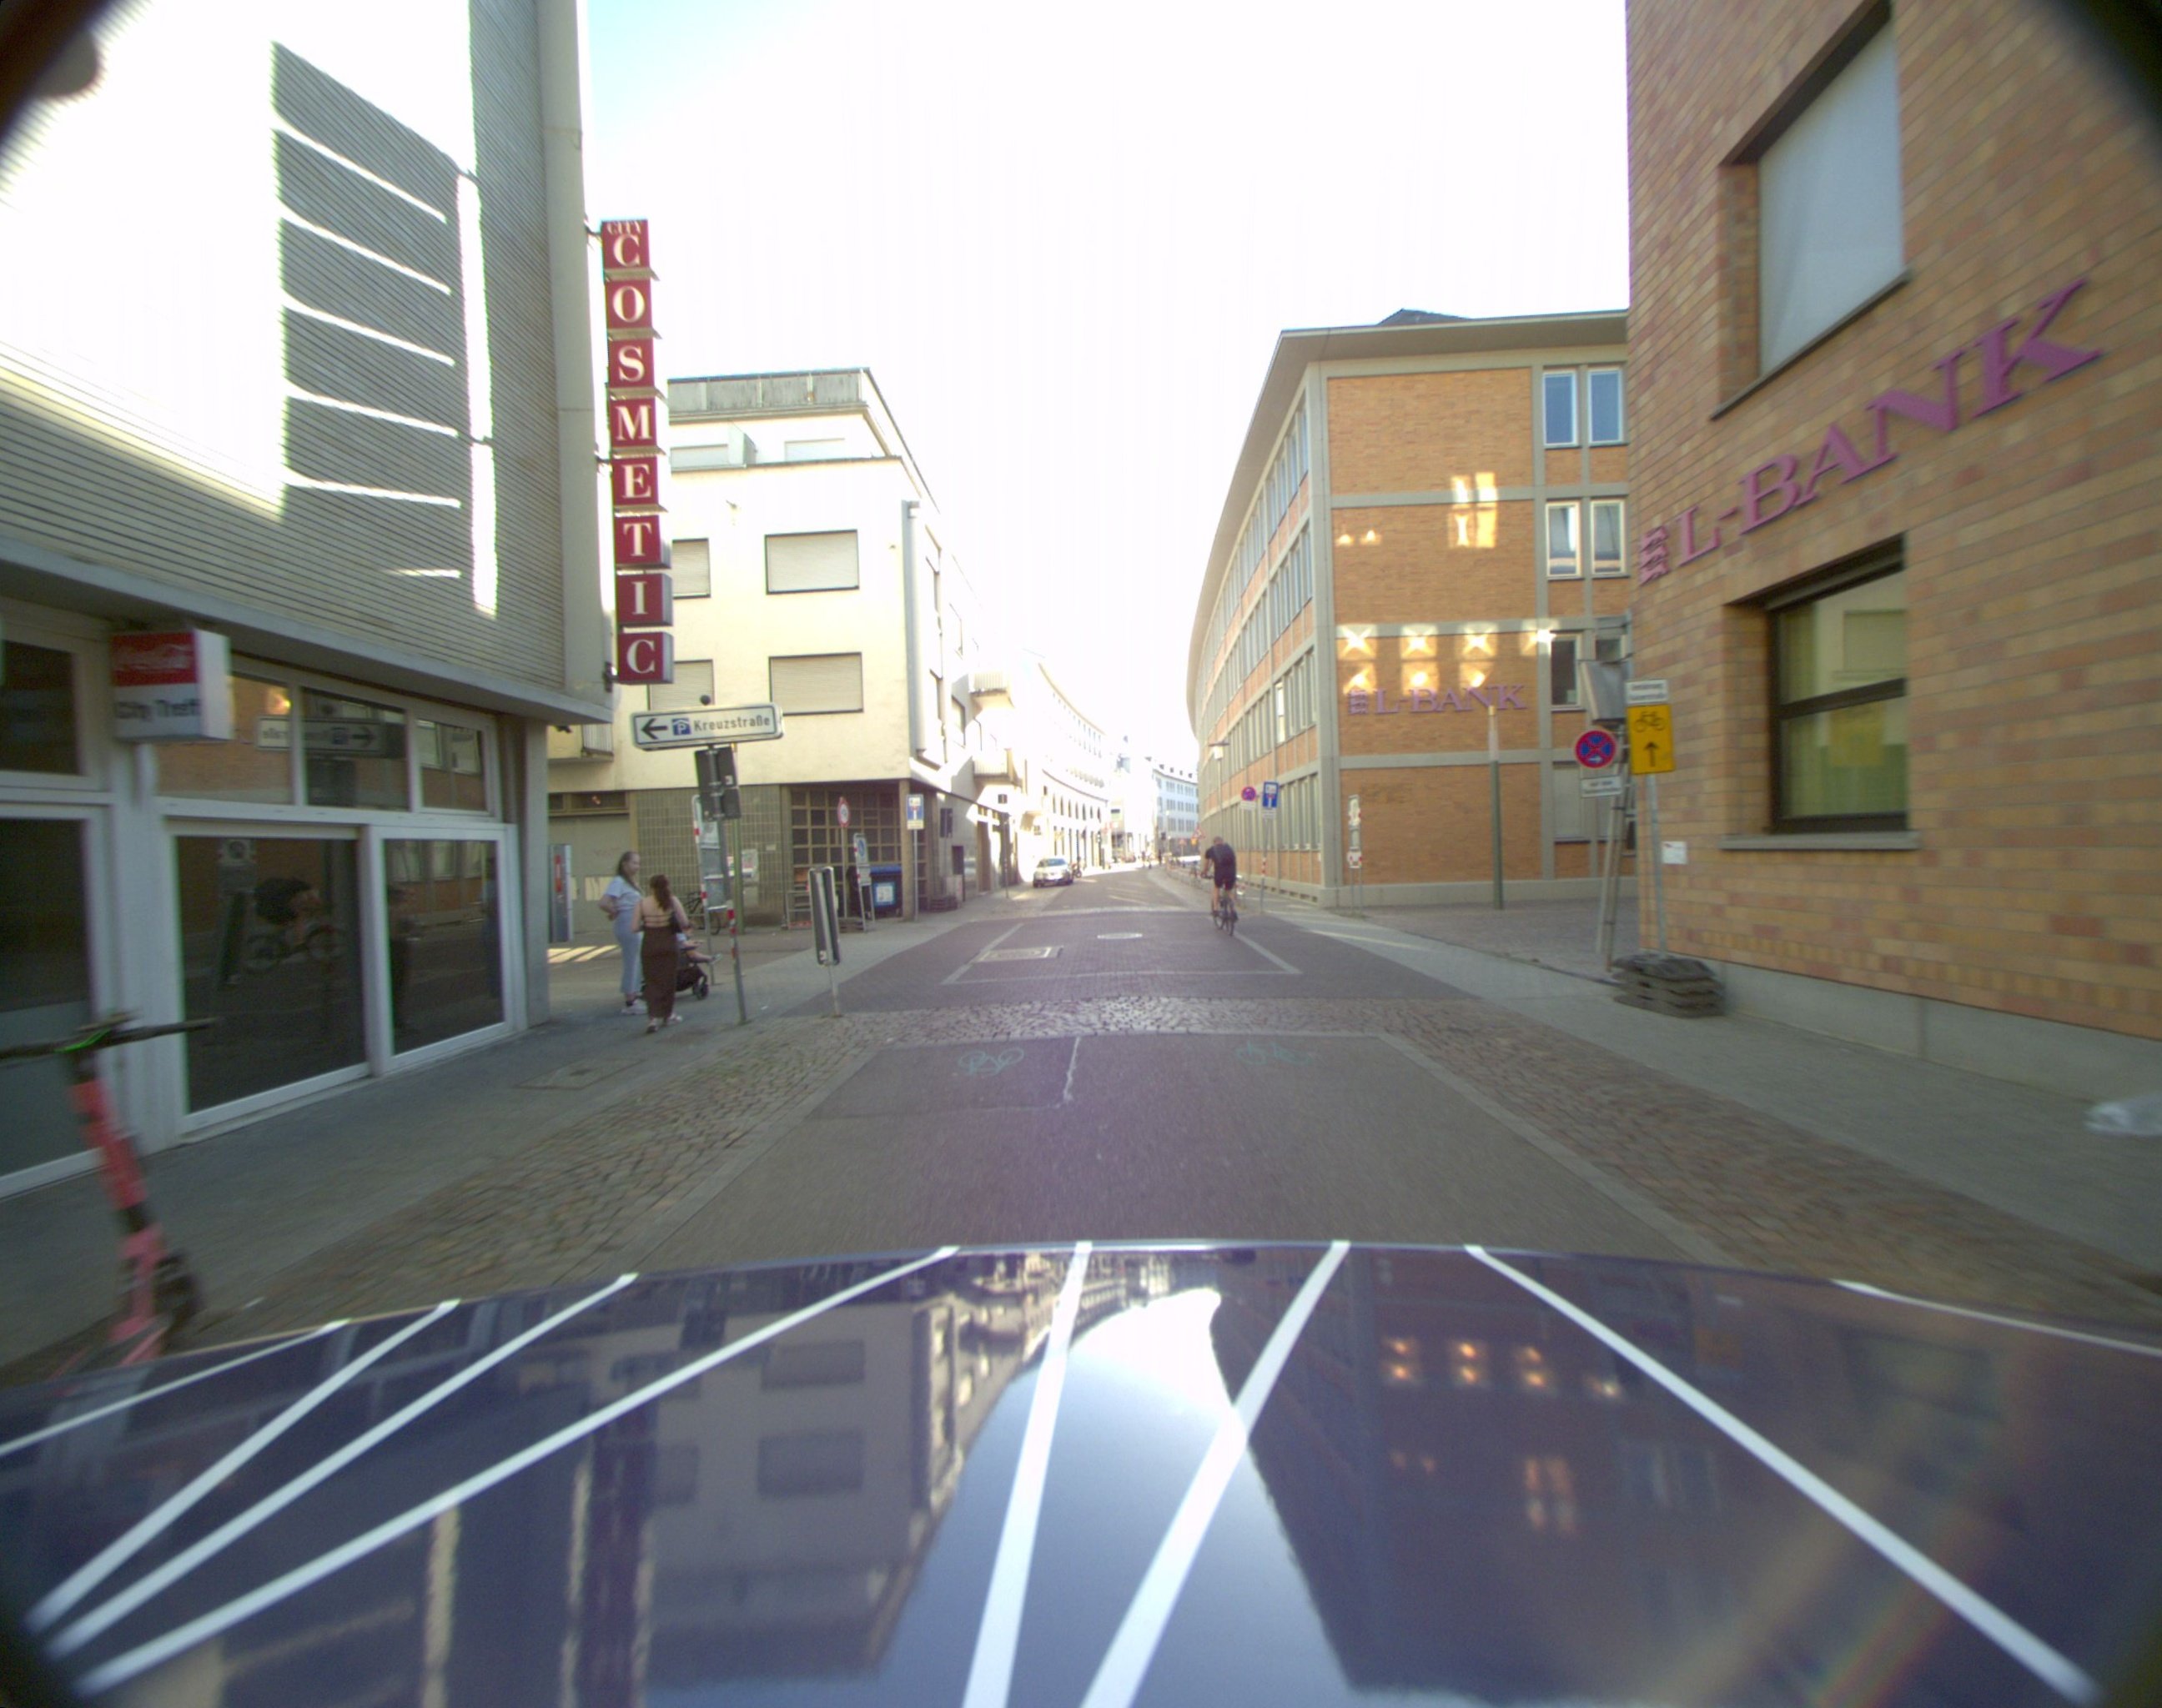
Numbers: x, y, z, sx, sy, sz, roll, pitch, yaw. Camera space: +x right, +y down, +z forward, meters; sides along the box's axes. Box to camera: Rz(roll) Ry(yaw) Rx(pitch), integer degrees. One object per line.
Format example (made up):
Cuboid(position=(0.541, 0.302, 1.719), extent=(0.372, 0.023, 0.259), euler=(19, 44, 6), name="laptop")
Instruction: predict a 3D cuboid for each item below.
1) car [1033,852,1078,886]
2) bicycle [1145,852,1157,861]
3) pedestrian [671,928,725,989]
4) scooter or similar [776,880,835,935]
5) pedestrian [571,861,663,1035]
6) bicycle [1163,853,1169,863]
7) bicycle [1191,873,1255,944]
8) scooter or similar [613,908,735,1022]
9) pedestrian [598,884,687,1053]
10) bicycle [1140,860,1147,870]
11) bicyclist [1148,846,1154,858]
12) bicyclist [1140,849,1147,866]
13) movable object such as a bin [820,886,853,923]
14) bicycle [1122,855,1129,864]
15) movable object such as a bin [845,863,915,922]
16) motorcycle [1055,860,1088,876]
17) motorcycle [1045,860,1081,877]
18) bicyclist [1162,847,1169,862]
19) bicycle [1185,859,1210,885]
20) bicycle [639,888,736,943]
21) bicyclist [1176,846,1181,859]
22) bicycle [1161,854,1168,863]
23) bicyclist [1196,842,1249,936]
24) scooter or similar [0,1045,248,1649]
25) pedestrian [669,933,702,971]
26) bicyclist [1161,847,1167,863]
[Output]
Cuboid(position=(-1.214, 0.725, 37.853), extent=(1.846, 1.453, 3.999), euler=(-4, 0, 3), name="car")
Cuboid(position=(9.202, 0.308, 99.661), extent=(0.531, 1.033, 1.622), euler=(-2, 1, 44), name="bicycle")
Cuboid(position=(-4.533, 1.226, 9.001), extent=(0.510, 0.629, 0.331), euler=(-3, 1, -33), name="pedestrian")
Cuboid(position=(-6.565, 1.265, 18.111), extent=(1.162, 1.216, 0.498), euler=(-2, 1, 0), name="scooter or similar")
Cuboid(position=(-4.908, 0.949, 8.032), extent=(0.623, 1.726, 0.625), euler=(-3, 1, -45), name="pedestrian")
Cuboid(position=(9.248, 0.432, 82.800), extent=(0.576, 0.955, 1.721), euler=(-2, 1, 9), name="bicycle")
Cuboid(position=(2.568, 0.966, 13.896), extent=(0.653, 1.125, 1.734), euler=(1, 1, -6), name="bicycle")
Cuboid(position=(-4.834, 1.270, 9.040), extent=(0.869, 1.169, 1.047), euler=(-2, -1, 44), name="scooter or similar")
Cuboid(position=(-4.195, 1.069, 7.283), extent=(0.573, 1.532, 0.441), euler=(0, 1, 10), name="pedestrian")
Cuboid(position=(5.710, 0.998, 68.837), extent=(0.524, 0.843, 1.491), euler=(-2, 1, 8), name="bicycle")
Cuboid(position=(9.196, -0.225, 99.703), extent=(0.488, 1.549, 0.719), euler=(-2, 1, 43), name="bicyclist")
Cuboid(position=(5.665, 0.279, 68.857), extent=(0.472, 1.495, 0.795), euler=(-2, 1, 6), name="bicyclist")
Cuboid(position=(-6.442, 1.324, 20.010), extent=(0.598, 0.921, 0.605), euler=(-3, 1, -39), name="movable object such as a bin")
Cuboid(position=(5.067, 0.614, 87.149), extent=(0.576, 0.955, 1.721), euler=(-2, 1, 9), name="bicycle")
Cuboid(position=(-5.417, 1.004, 20.482), extent=(1.437, 1.454, 1.126), euler=(-3, 1, -39), name="movable object such as a bin")
Cuboid(position=(-0.622, 0.902, 48.966), extent=(1.995, 0.950, 0.646), euler=(-2, 1, 16), name="motorcycle")
Cuboid(position=(-1.081, 0.872, 45.074), extent=(1.995, 0.950, 0.646), euler=(-2, 1, 16), name="motorcycle")
Cuboid(position=(9.207, 0.038, 82.818), extent=(0.576, 1.525, 0.816), euler=(-2, 1, 9), name="bicyclist")
Cuboid(position=(4.957, 0.750, 32.411), extent=(0.628, 1.048, 1.822), euler=(-2, 1, -4), name="bicycle")
Cuboid(position=(-9.147, 1.423, 17.693), extent=(1.891, 1.120, 0.682), euler=(-3, 1, 6), name="bicycle")
Cuboid(position=(11.973, -0.190, 93.121), extent=(0.580, 1.565, 0.692), euler=(-2, 1, 10), name="bicyclist")
Cuboid(position=(8.594, 0.461, 78.284), extent=(0.576, 0.955, 1.721), euler=(-2, 1, 9), name="bicycle")
Cuboid(position=(2.570, 0.617, 13.851), extent=(0.664, 1.633, 0.925), euler=(1, 2, -6), name="bicyclist")
Cuboid(position=(-2.971, 1.284, 2.047), extent=(0.495, 1.187, 1.304), euler=(-3, 1, -27), name="scooter or similar")
Cuboid(position=(-4.812, 1.186, 9.237), extent=(0.313, 0.396, 0.331), euler=(-3, 1, -33), name="pedestrian")
Cuboid(position=(8.570, 0.096, 78.255), extent=(0.580, 1.565, 0.692), euler=(-2, 1, 7), name="bicyclist")
